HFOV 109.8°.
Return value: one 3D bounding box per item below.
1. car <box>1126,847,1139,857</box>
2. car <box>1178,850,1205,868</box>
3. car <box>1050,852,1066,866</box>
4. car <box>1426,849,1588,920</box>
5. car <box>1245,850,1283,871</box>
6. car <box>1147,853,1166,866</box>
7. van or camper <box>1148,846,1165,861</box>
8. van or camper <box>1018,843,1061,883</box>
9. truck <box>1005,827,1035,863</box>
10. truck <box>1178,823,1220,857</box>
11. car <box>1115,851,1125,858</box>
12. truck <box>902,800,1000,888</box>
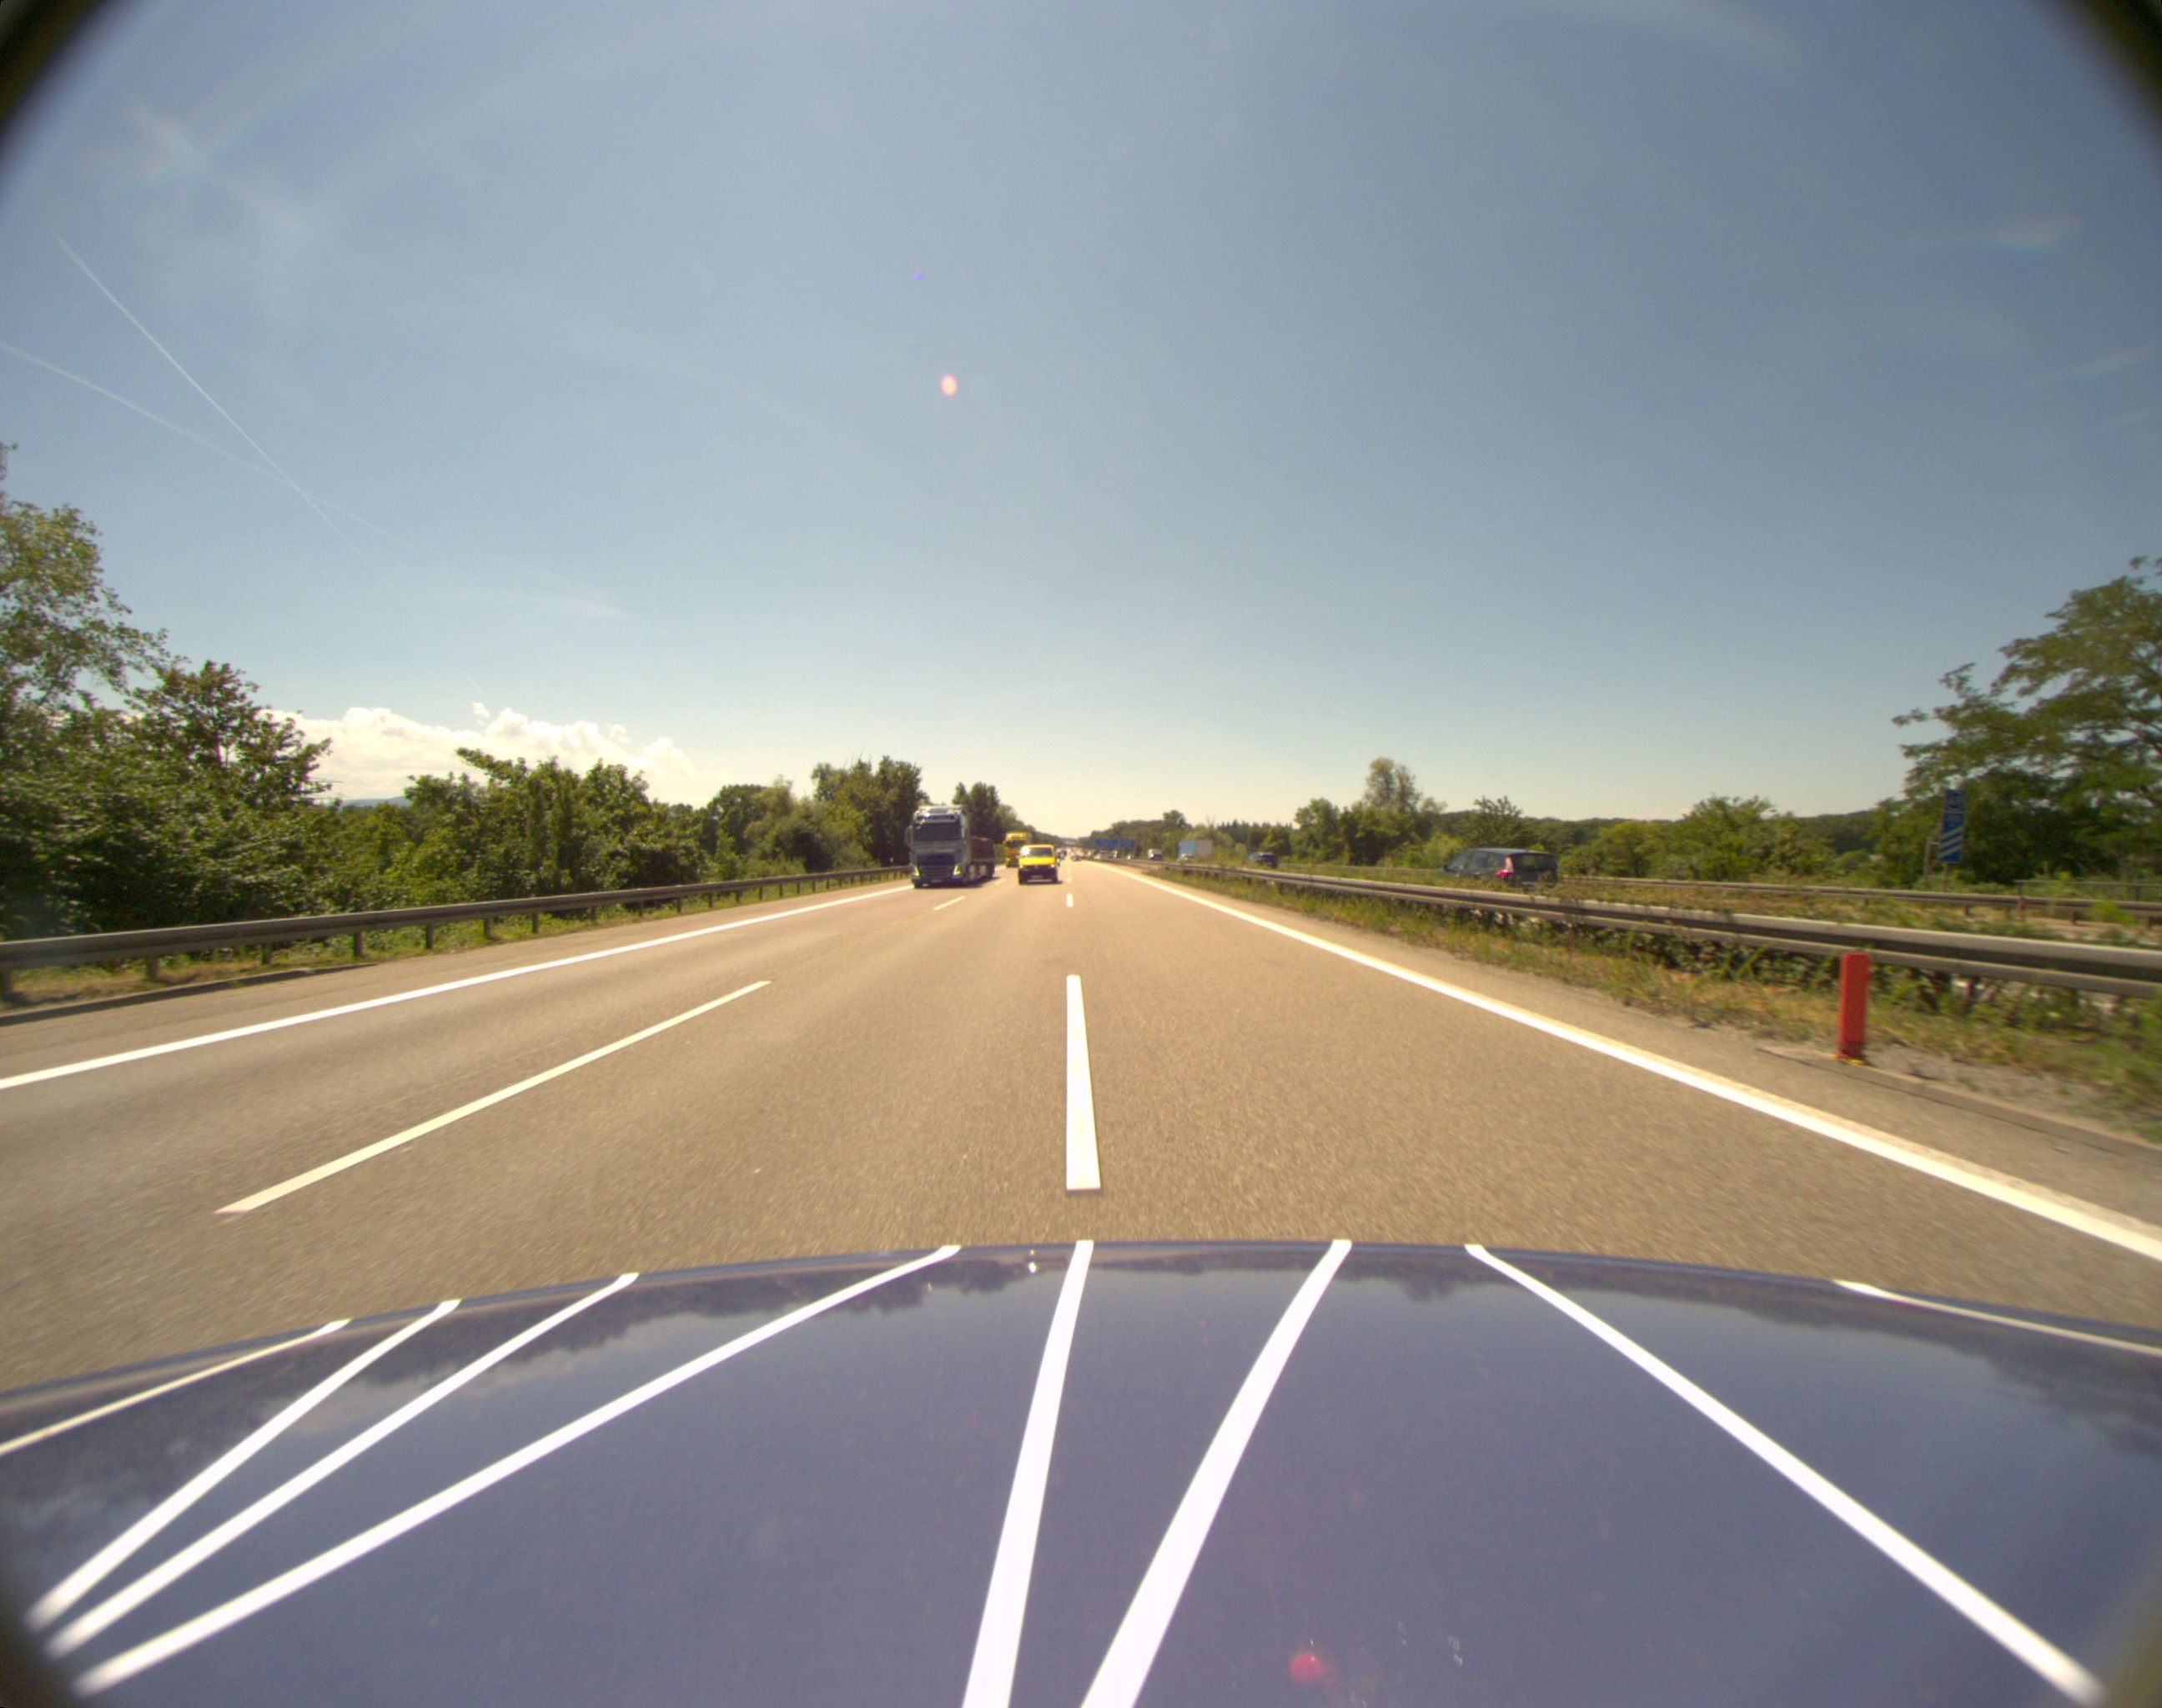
[{"bbox_3d":[9.642,-0.389,142.038,1.999,1.680,4.407,1,0,-1],"label":"car"},{"bbox_3d":[11.109,0.480,76.684,1.999,1.720,4.092,0,0,-1],"label":"car"},{"bbox_3d":[-2.754,0.597,91.287,1.845,1.565,3.999,-1,1,0],"label":"car"},{"bbox_3d":[11.255,0.734,20.470,1.999,1.720,4.092,0,0,-1],"label":"car"},{"bbox_3d":[14.721,0.518,61.232,1.999,1.608,3.999,0,1,-1],"label":"car"},{"bbox_3d":[10.021,0.687,101.577,1.999,1.720,5.106,0,0,-1],"label":"car"},{"bbox_3d":[13.549,-0.125,136.024,1.999,2.551,7.033,2,0,-2],"label":"van or camper"},{"bbox_3d":[-2.066,0.427,39.052,1.999,1.898,4.970,-1,0,-1],"label":"van or camper"},{"bbox_3d":[-7.556,-1.123,96.397,2.853,4.233,16.786,0,1,-1],"label":"truck"},{"bbox_3d":[18.043,-2.029,117.596,3.234,4.693,16.855,2,0,-1],"label":"truck"},{"bbox_3d":[9.565,0.173,185.697,1.999,1.680,4.407,0,0,-1],"label":"car"},{"bbox_3d":[-6.797,-0.523,42.915,2.977,3.934,16.608,-1,1,-1],"label":"truck"}]
